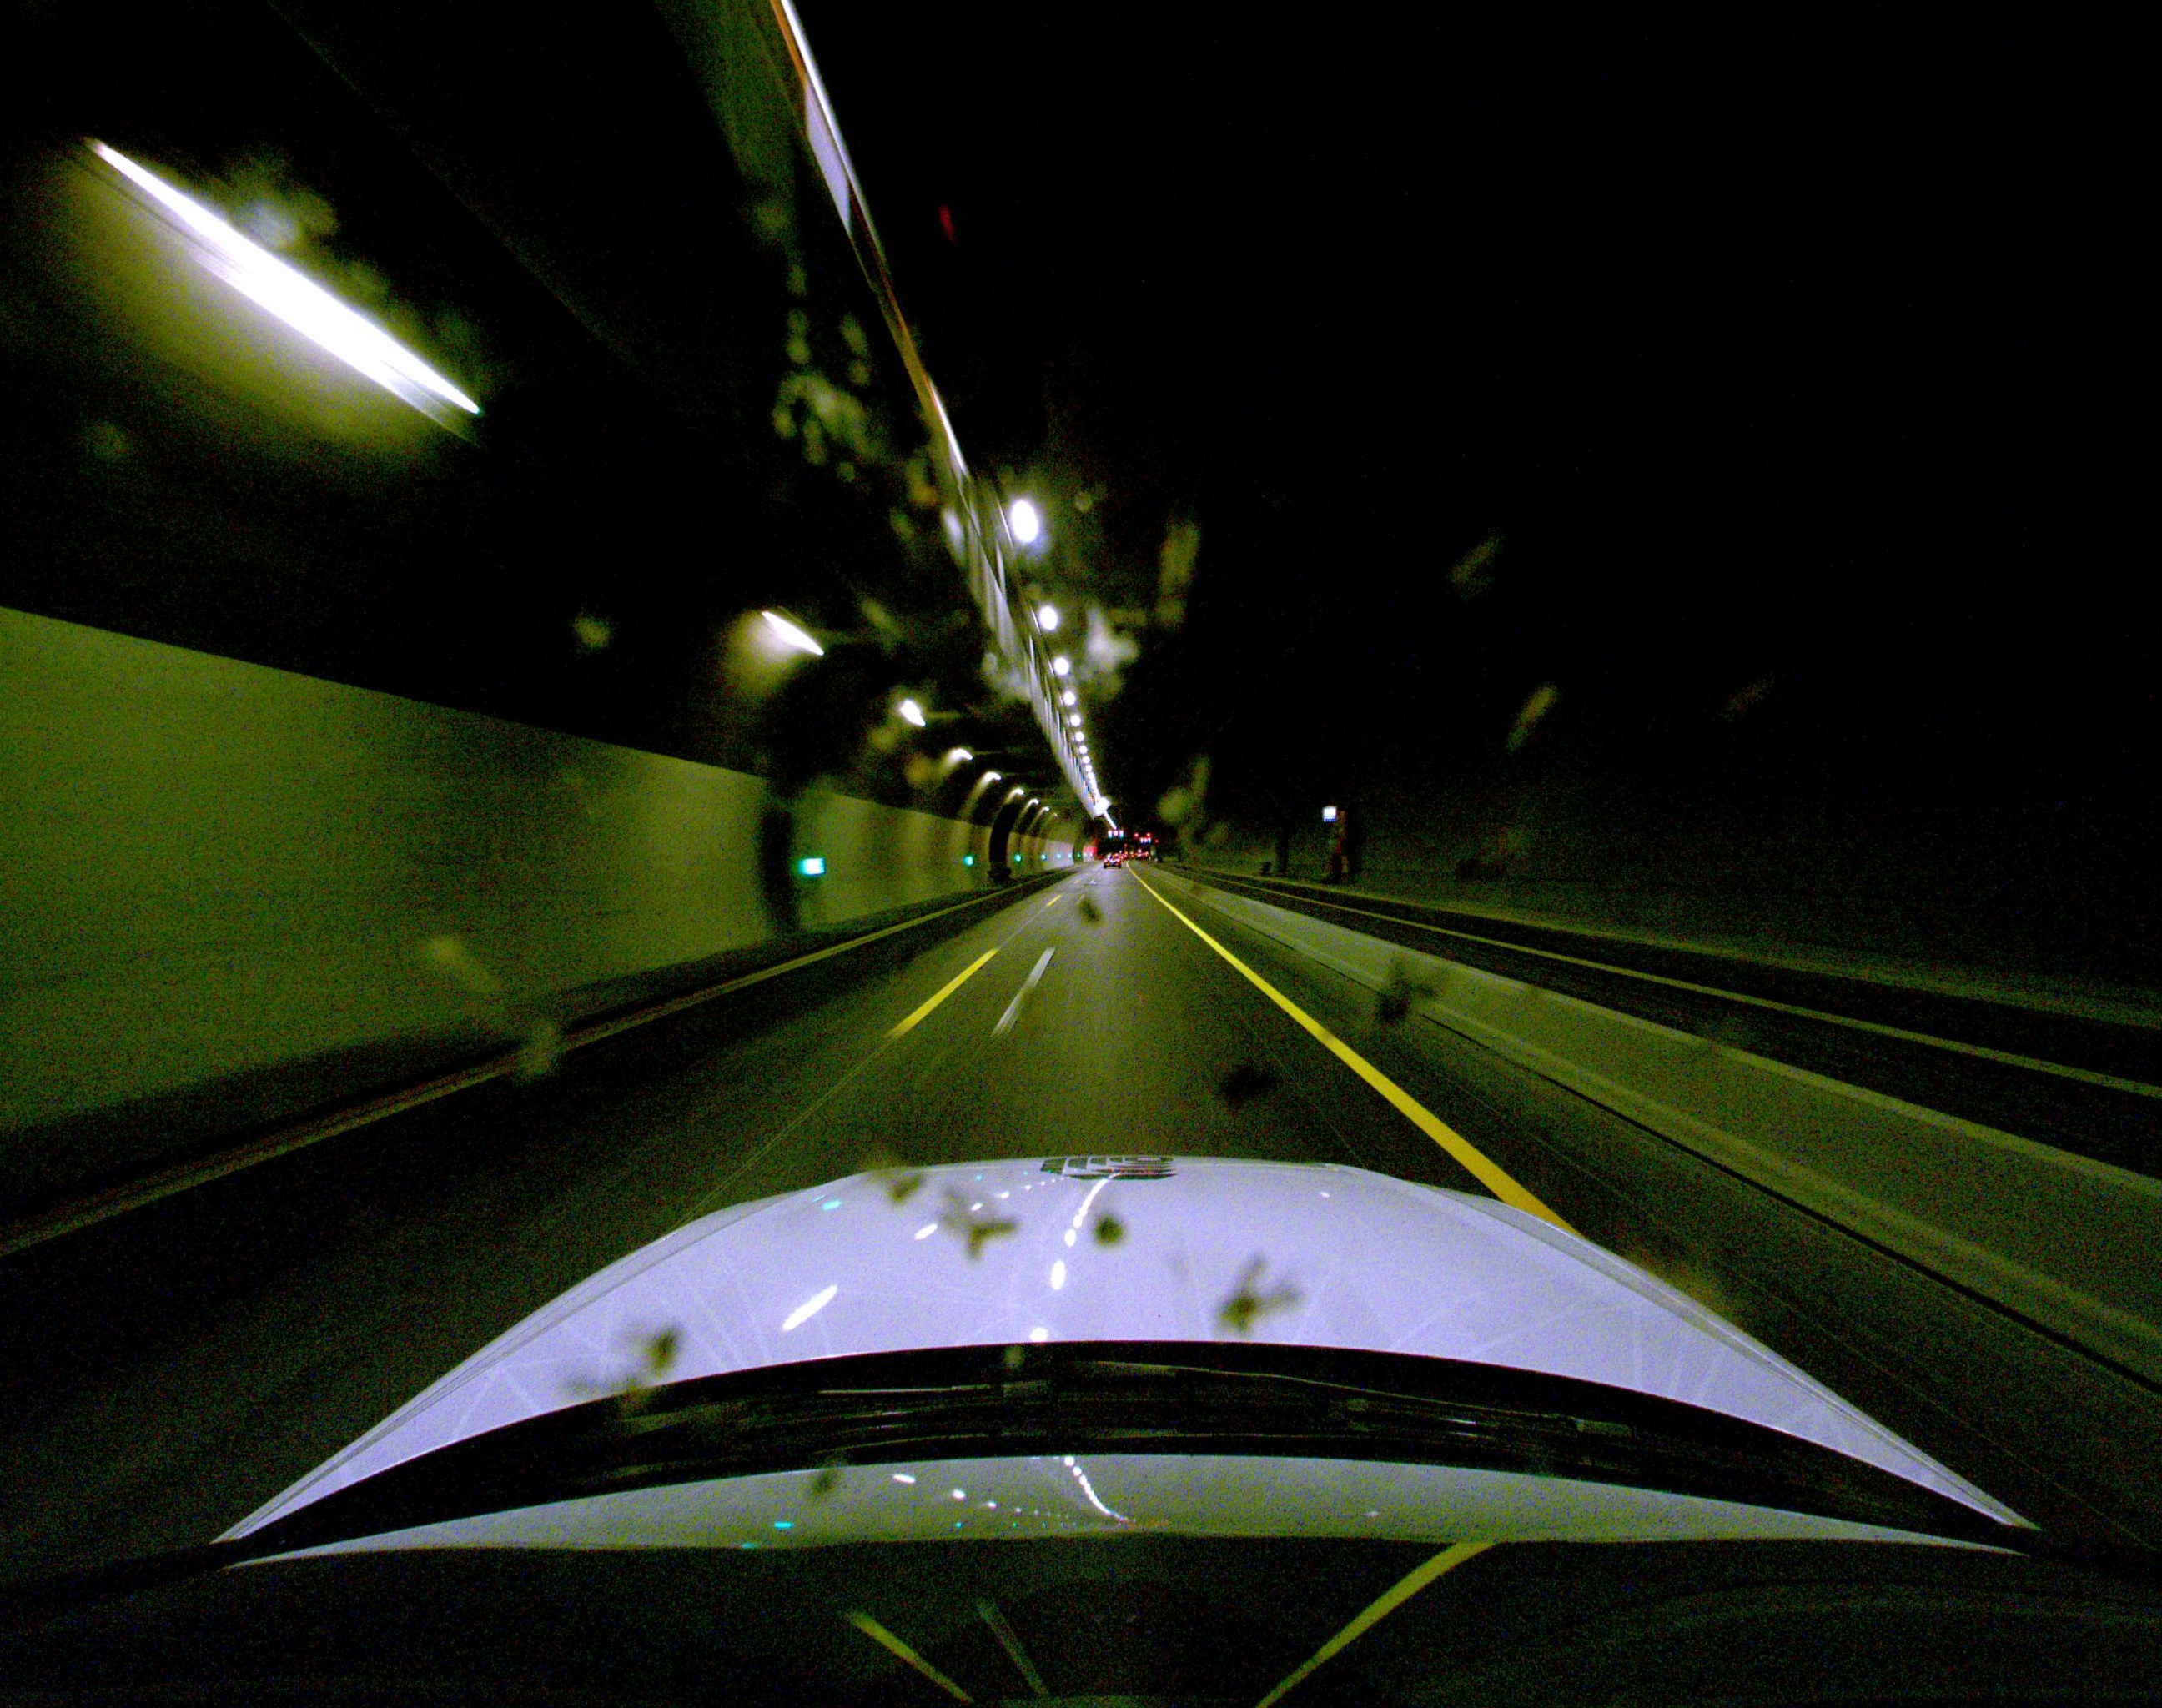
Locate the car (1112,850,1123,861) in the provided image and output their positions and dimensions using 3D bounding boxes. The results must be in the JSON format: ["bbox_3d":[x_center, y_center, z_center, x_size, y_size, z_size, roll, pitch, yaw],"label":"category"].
[{"bbox_3d":[6.873,0.302,152.758,1.986,2.013,4.001,-1,0,1],"label":"car"}]

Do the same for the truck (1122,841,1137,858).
[{"bbox_3d":[15.263,-1.296,254.278,4.527,4.987,9.607,-1,0,3],"label":"truck"}]

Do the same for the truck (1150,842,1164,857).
[{"bbox_3d":[16.943,-0.986,181.782,2.880,3.272,8.409,-1,0,4],"label":"truck"}]

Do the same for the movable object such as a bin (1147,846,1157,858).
[{"bbox_3d":[16.592,-0.378,190.085,2.228,2.794,7.239,-1,0,4],"label":"movable object such as a bin"}]

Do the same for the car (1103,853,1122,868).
[{"bbox_3d":[3.331,0.701,87.362,1.881,1.607,4.000,-1,0,1],"label":"car"}]
